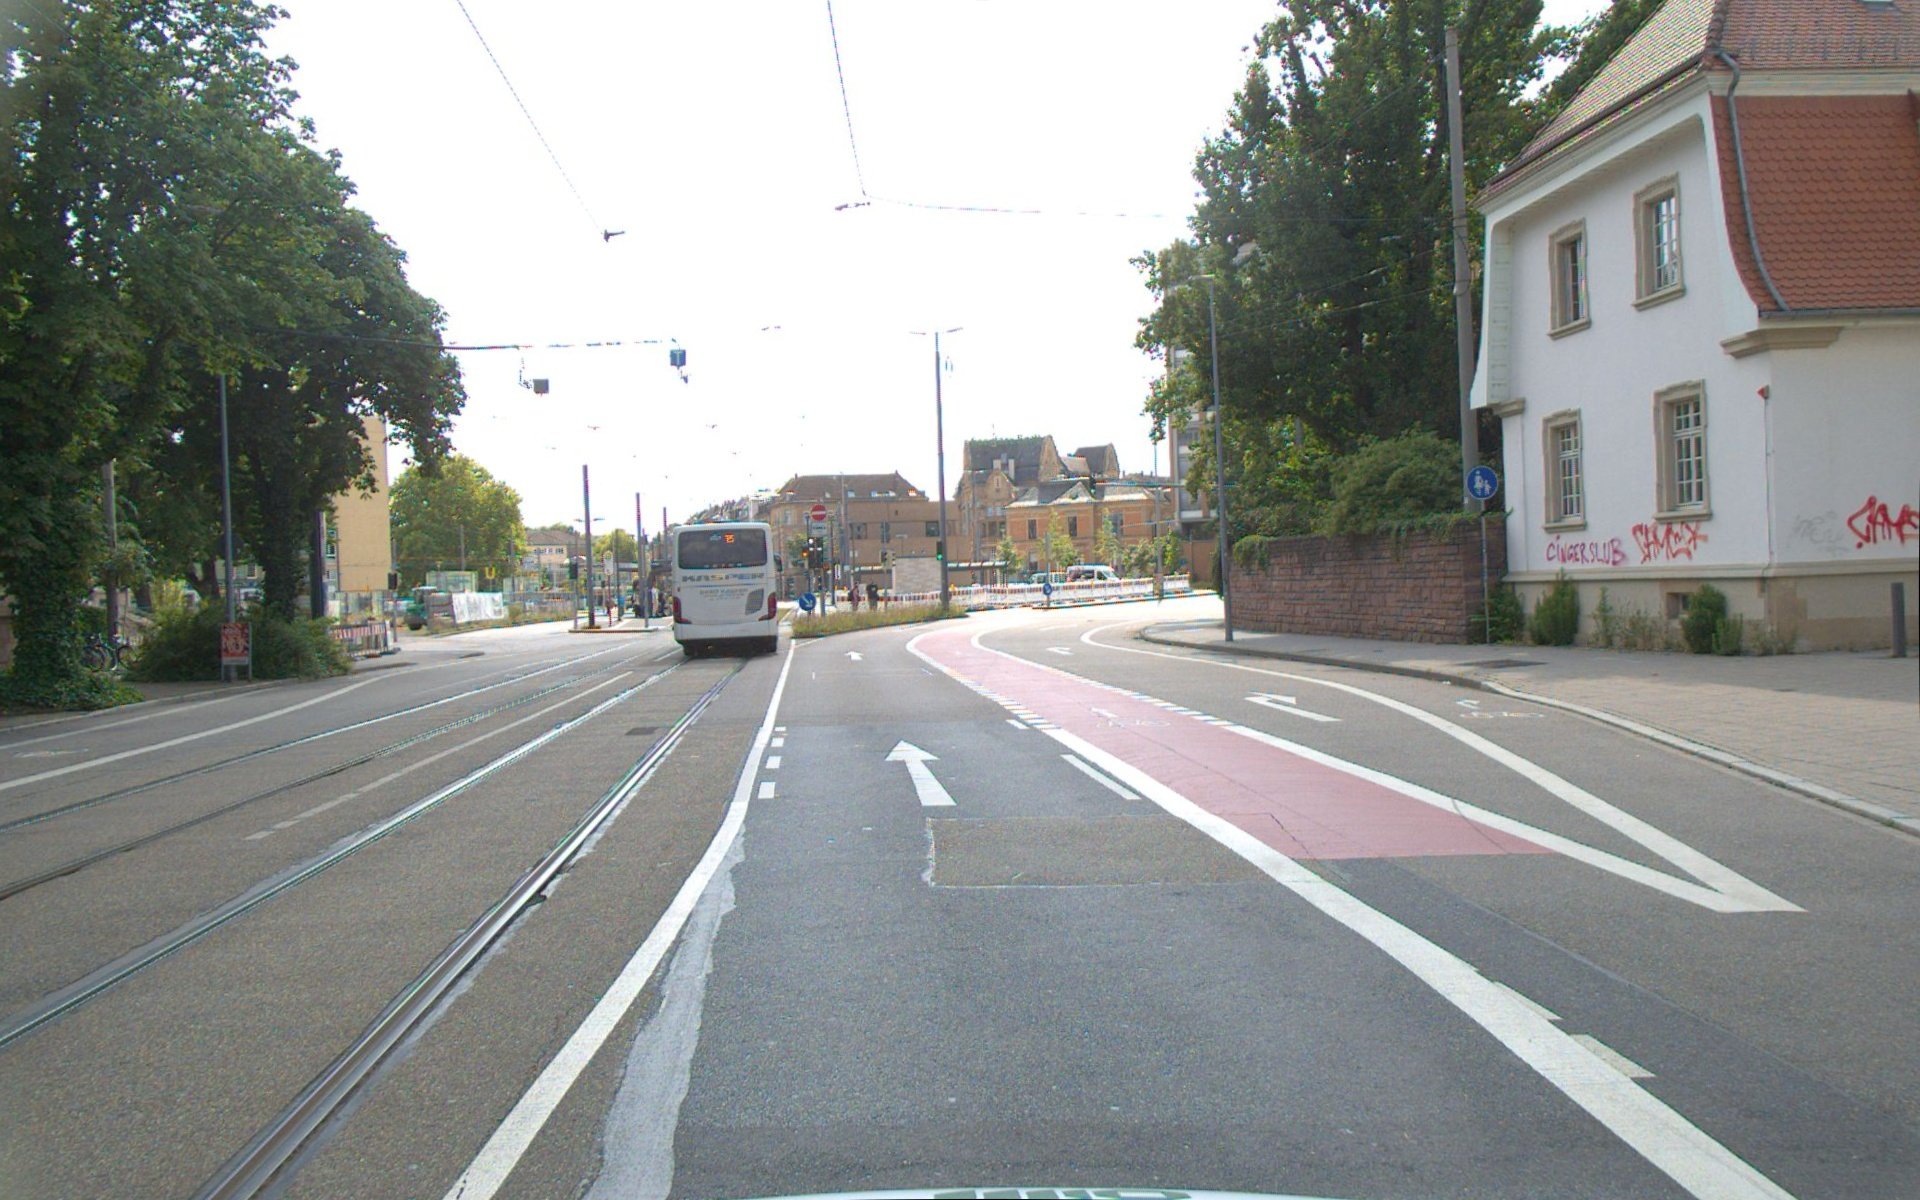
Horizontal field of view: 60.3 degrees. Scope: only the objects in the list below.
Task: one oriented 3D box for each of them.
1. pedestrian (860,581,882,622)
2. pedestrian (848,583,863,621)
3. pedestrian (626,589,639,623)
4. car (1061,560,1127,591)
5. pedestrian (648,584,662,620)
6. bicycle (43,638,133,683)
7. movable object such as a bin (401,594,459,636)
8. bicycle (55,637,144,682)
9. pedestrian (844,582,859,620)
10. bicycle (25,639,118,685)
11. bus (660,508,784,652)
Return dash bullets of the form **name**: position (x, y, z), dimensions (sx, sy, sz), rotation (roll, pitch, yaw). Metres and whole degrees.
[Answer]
- **pedestrian**: position (-4.282, 0.071, 79.589), dimensions (0.783, 1.917, 0.607), rotation (-2, 0, -31)
- **pedestrian**: position (-4.994, 0.083, 79.040), dimensions (0.400, 1.766, 0.621), rotation (-2, 0, 20)
- **pedestrian**: position (-18.674, 0.316, 94.348), dimensions (0.599, 1.917, 0.793), rotation (-2, 0, -5)
- **car**: position (11.456, -2.097, 141.534), dimensions (2.282, 2.359, 5.504), rotation (-2, 0, -41)
- **pedestrian**: position (-16.557, 0.125, 89.782), dimensions (0.599, 1.917, 0.793), rotation (-2, 0, -5)
- **bicycle**: position (-24.261, 1.682, 46.046), dimensions (2.074, 1.188, 0.729), rotation (-1, 0, -7)
- **movable object such as a bin**: position (-34.682, 0.971, 108.308), dimensions (2.589, 2.619, 3.998), rotation (-2, 0, -3)
- **bicycle**: position (-24.404, 1.686, 46.931), dimensions (2.074, 1.188, 0.729), rotation (-1, 0, -7)
- **pedestrian**: position (-5.107, 0.036, 78.042), dimensions (0.600, 1.736, 0.621), rotation (-2, 0, -9)
- **bicycle**: position (-24.078, 1.677, 44.862), dimensions (2.074, 1.188, 0.729), rotation (-1, 0, -7)
- **bus**: position (-6.322, -0.468, 45.635), dimensions (2.862, 3.386, 12.189), rotation (-1, 0, -6)
